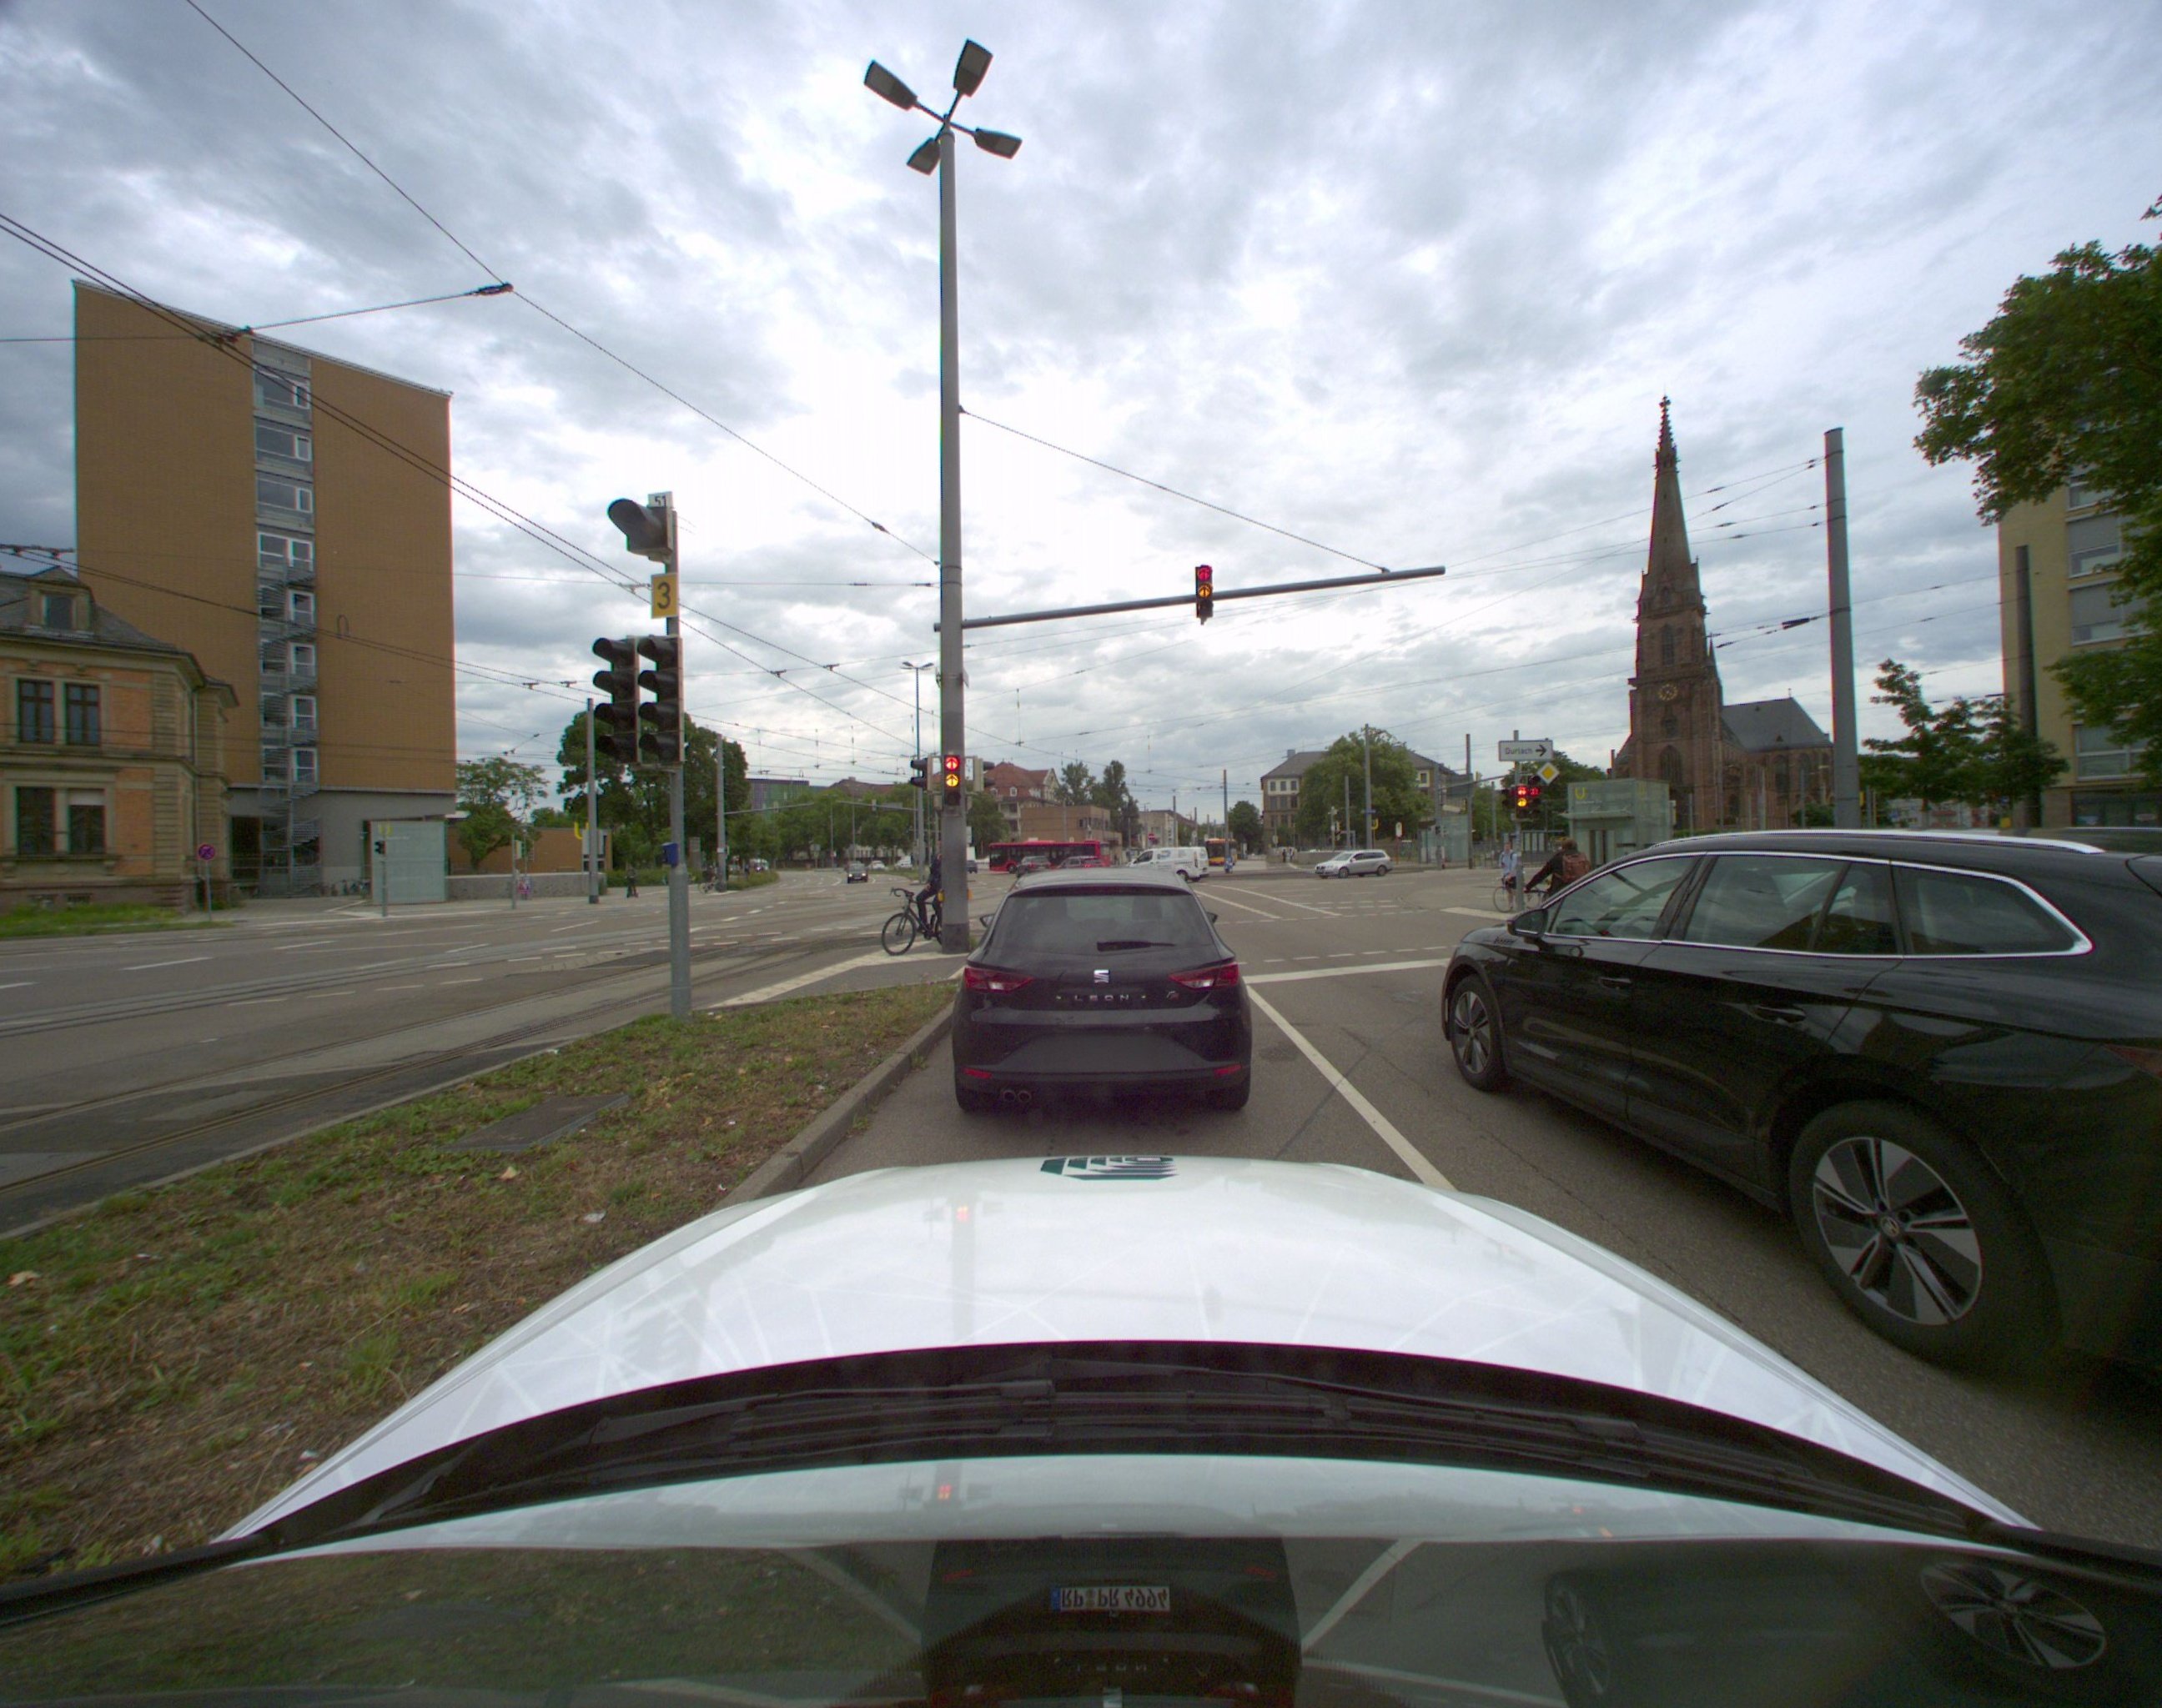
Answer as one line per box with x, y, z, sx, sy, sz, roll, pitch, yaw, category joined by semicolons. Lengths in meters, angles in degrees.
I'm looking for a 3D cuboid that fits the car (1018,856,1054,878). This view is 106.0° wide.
-3.565;1.004;64.244;1.997;1.566;4.184;-2;0;-15;car

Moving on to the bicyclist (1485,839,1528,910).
10.875;0.523;20.827;0.736;1.751;0.581;-3;0;-25;bicyclist

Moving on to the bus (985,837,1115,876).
-3.029;0.319;76.838;12.222;3.298;3.087;-2;-1;27;bus

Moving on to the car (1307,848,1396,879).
14.941;0.518;44.984;4.633;1.482;1.713;-3;0;-23;car

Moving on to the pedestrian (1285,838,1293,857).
46.354;-1.472;181.589;1.302;4.253;1.347;-2;0;2;pedestrian

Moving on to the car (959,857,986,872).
-11.750;1.110;88.078;2.000;1.539;3.973;-1;0;-20;car

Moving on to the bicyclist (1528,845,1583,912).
11.198;0.558;19.216;0.886;1.522;0.668;-1;0;-19;bicyclist

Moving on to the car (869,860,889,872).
-29.507;1.745;118.799;2.004;1.640;3.965;-1;0;-27;car

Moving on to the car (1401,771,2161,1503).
3.364;0.615;3.812;1.897;1.658;4.513;-2;0;-1;car

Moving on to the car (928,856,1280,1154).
0.174;0.759;6.071;1.739;1.464;4.002;-1;0;2;car

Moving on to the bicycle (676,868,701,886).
-34.437;2.020;71.532;0.842;1.449;2.259;-2;0;7;bicycle

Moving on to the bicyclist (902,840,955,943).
-2.540;0.604;13.524;0.658;1.639;0.512;-2;-1;-38;bicyclist

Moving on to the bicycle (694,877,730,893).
-24.805;2.088;54.783;2.118;1.028;0.790;0;0;-17;bicycle

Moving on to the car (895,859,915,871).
-25.463;1.586;117.611;2.004;1.750;3.966;-1;0;-25;car

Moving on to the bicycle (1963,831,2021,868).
36.119;-0.195;32.274;2.792;1.377;0.895;-2;0;-29;bicycle

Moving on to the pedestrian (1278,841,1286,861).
44.830;-0.699;181.646;1.381;4.253;1.347;-2;0;2;pedestrian

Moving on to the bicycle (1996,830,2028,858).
40.830;-0.453;35.715;2.048;1.169;0.663;-2;0;-34;bicycle

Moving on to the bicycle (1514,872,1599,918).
11.255;0.956;19.260;1.946;0.998;0.598;-1;0;-19;bicycle

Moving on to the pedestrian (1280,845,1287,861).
25.210;-0.122;101.350;0.817;1.853;1.026;-2;0;18;pedestrian

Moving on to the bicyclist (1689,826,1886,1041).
5.689;0.600;6.619;0.786;1.618;0.933;0;0;0;bicyclist

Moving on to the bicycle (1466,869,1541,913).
10.778;0.926;20.768;1.996;0.998;0.575;-3;0;-26;bicycle

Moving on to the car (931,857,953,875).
-17.152;1.465;100.311;2.000;2.013;3.973;-1;0;-20;car

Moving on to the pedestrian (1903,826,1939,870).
33.863;-0.246;32.836;0.910;1.737;0.805;-2;0;-33;pedestrian

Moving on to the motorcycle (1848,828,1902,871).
27.169;-0.168;27.852;2.304;1.366;1.035;-3;0;-40;motorcycle

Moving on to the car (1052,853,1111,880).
-0.038;0.806;53.199;1.871;1.600;4.161;-2;0;-33;car

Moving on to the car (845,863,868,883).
-18.281;1.520;66.201;1.622;1.515;3.644;-3;0;-17;car

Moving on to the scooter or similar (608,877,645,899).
-26.213;1.946;47.026;0.567;1.165;1.917;-2;0;23;scooter or similar

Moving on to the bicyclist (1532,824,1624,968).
6.133;0.495;10.092;0.613;1.690;0.806;-2;0;-1;bicyclist

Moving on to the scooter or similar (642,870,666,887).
-36.079;2.051;68.823;1.781;1.302;0.624;-2;0;-30;scooter or similar

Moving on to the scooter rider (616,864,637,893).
-26.233;1.390;47.027;0.562;1.627;0.826;-2;0;23;scooter rider

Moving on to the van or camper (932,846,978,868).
-21.457;0.473;139.044;7.193;3.332;2.841;-2;-1;-43;van or camper

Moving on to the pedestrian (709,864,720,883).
-34.955;1.874;77.621;0.747;1.733;0.683;-2;0;-13;pedestrian

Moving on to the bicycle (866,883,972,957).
-2.648;1.056;13.434;1.622;1.070;0.522;-2;-1;-38;bicycle

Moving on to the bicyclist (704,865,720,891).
-24.813;1.582;54.783;0.814;1.656;0.789;-4;1;-17;bicyclist

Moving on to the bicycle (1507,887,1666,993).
6.150;0.994;10.072;0.623;1.055;2.125;-2;0;0;bicycle

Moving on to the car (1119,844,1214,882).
4.862;0.525;46.685;4.967;2.019;2.012;-2;0;29;car

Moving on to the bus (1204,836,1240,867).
16.427;-0.329;94.011;2.994;3.268;13.093;-2;0;14;bus

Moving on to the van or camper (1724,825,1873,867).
37.371;-0.389;42.611;5.402;1.978;2.183;-2;0;20;van or camper

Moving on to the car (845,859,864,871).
-36.492;1.754;131.333;2.006;1.772;3.961;-1;0;-31;car
